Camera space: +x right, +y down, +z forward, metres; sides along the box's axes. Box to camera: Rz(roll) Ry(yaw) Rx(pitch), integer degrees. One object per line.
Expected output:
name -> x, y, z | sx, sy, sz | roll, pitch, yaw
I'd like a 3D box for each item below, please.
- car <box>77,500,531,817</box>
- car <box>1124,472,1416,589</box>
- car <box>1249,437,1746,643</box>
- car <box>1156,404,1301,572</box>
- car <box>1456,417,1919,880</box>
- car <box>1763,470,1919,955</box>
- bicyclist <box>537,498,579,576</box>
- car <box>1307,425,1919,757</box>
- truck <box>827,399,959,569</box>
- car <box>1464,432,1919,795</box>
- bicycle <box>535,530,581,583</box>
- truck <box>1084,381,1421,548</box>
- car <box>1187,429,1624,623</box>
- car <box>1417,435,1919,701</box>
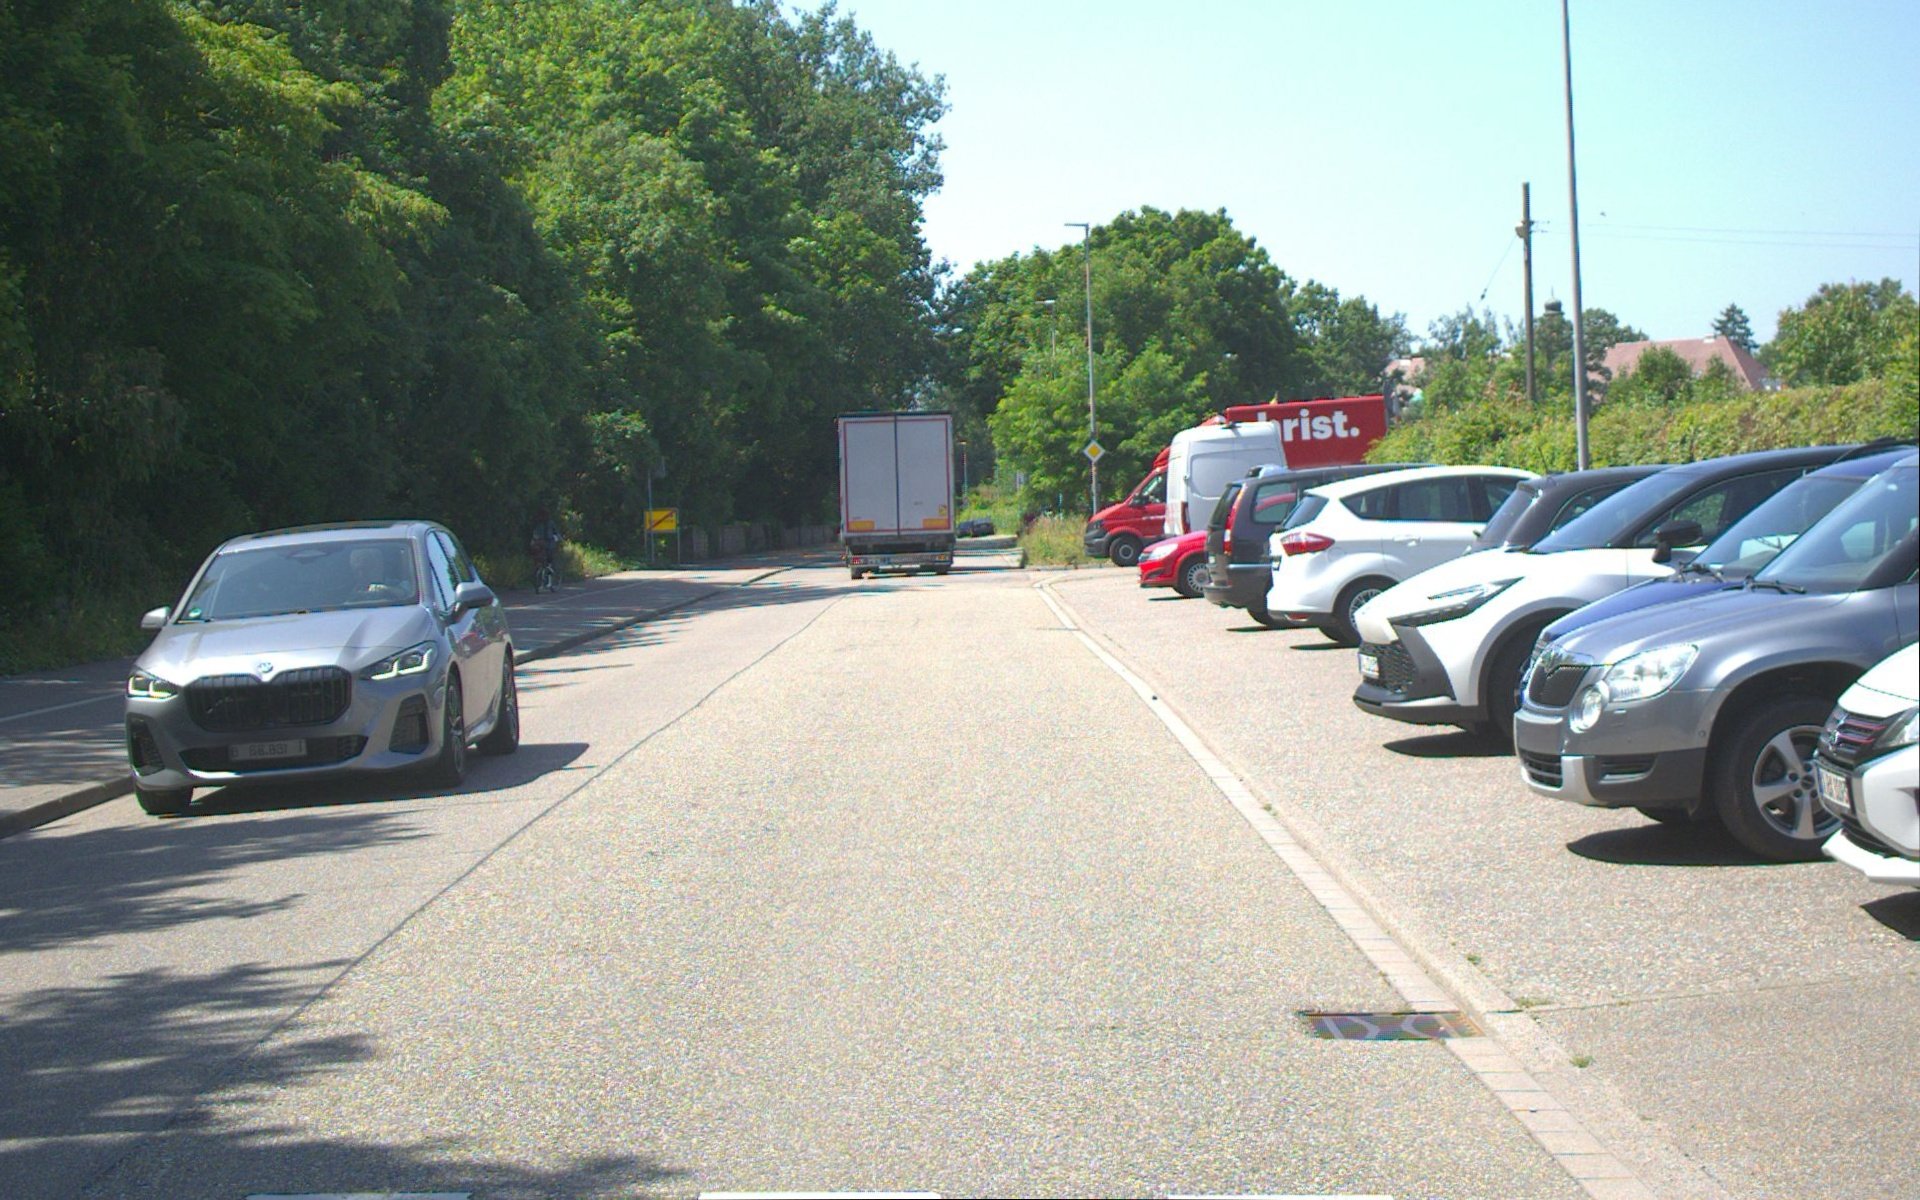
car -> -3.809, 0.255, 20.706 | 1.891, 1.527, 4.197 | -6, 2, -1
car -> 4.612, -1.054, 51.501 | 4.053, 1.429, 1.836 | -4, 2, -3
car -> 5.013, -0.585, 32.430 | 4.275, 1.572, 1.766 | -4, 2, -2
car -> 4.767, -2.037, 61.980 | 1.954, 2.724, 7.168 | -4, 2, 1
car -> 4.256, 0.047, 14.190 | 3.959, 1.634, 1.664 | -6, 2, -5
car -> 4.706, 0.177, 11.310 | 3.690, 1.445, 1.610 | -5, 2, 4
bicyclist -> -8.207, -1.281, 70.202 | 0.648, 1.559, 0.837 | -2, 2, 4
car -> 4.215, -0.109, 19.987 | 3.962, 1.517, 1.865 | -6, 2, -5
truck -> -1.497, -2.776, 83.193 | 2.733, 3.733, 13.246 | -1, 2, 1
car -> 4.450, -0.028, 17.120 | 3.452, 1.522, 1.540 | -6, 2, -5
bicycle -> -8.200, -0.887, 70.178 | 0.561, 1.023, 1.839 | -2, 2, 4
truck -> 6.499, -2.993, 76.025 | 7.140, 3.428, 2.329 | -1, 2, 10
car -> 4.959, -0.833, 38.638 | 4.452, 1.798, 1.953 | -4, 1, -4
car -> 4.866, -0.239, 22.982 | 3.388, 1.498, 1.588 | -4, 2, 3
